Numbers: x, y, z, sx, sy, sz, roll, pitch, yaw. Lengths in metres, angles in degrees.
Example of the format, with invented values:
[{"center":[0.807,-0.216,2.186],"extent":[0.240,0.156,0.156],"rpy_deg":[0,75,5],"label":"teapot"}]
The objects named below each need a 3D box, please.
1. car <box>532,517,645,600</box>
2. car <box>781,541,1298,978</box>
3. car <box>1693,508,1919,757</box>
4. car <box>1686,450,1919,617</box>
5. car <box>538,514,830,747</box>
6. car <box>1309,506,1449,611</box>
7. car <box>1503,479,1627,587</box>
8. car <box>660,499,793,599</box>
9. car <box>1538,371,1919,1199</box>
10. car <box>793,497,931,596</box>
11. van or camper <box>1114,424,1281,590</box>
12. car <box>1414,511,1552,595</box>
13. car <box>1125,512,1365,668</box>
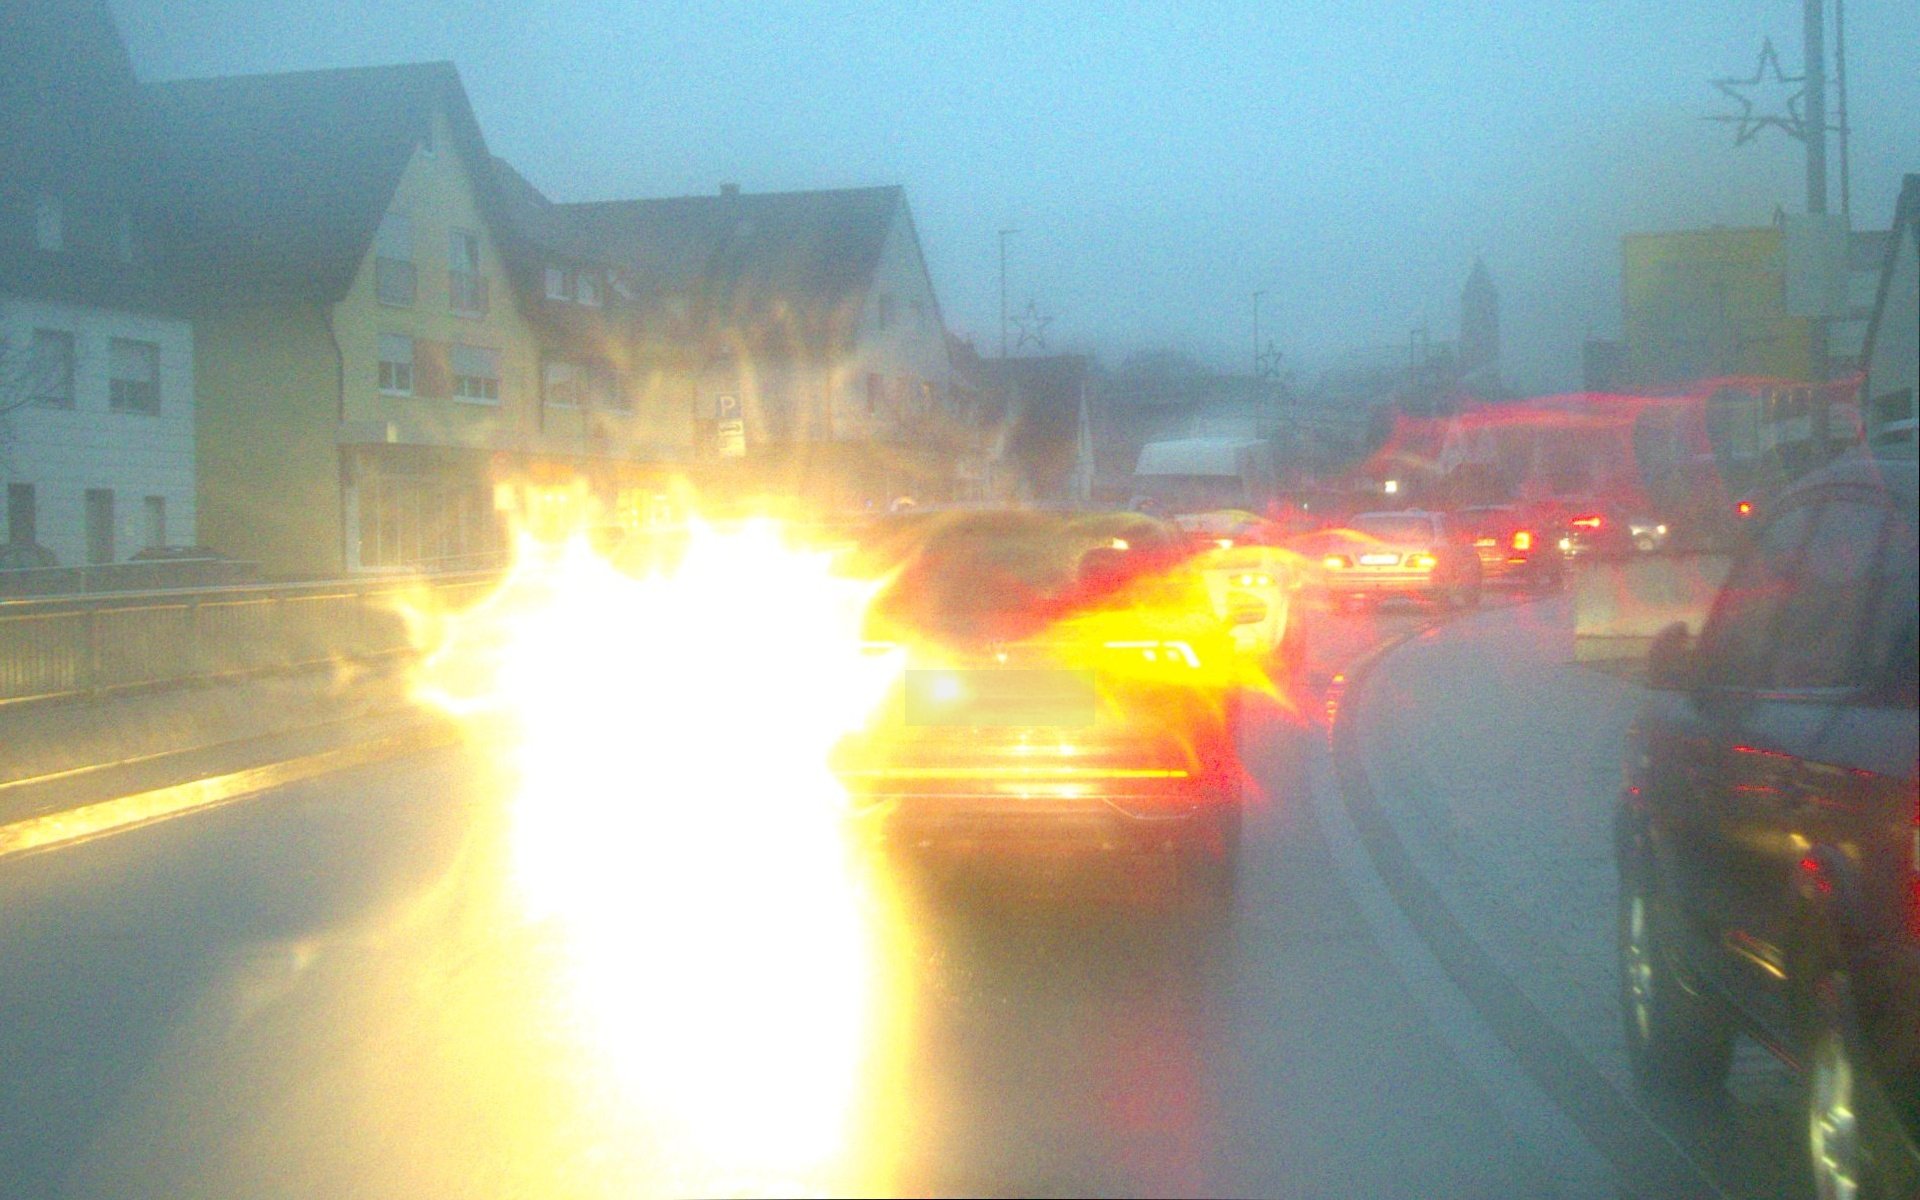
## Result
[{"center":[-7.665,-0.884,70.640],"extent":[1.821,1.607,4.058],"rpy_deg":[-2,2,-13],"label":"car"},{"center":[0.248,0.572,15.260],"extent":[1.964,1.589,4.314],"rpy_deg":[0,2,-1],"label":"car"},{"center":[6.117,0.129,21.726],"extent":[1.765,1.389,3.915],"rpy_deg":[-3,1,-5],"label":"car"},{"center":[11.060,-0.909,41.503],"extent":[4.176,1.633,1.803],"rpy_deg":[-8,1,7],"label":"car"},{"center":[-2.003,0.175,25.871],"extent":[1.663,1.630,3.550],"rpy_deg":[0,1,4],"label":"car"},{"center":[6.123,-0.632,49.928],"extent":[1.815,1.407,3.999],"rpy_deg":[0,2,10],"label":"car"},{"center":[12.390,-1.370,70.679],"extent":[2.158,1.984,4.498],"rpy_deg":[-4,1,7],"label":"car"},{"center":[-4.796,-1.060,70.104],"extent":[2.037,1.919,4.058],"rpy_deg":[-2,2,-13],"label":"car"},{"center":[2.445,0.412,7.759],"extent":[1.770,1.776,4.000],"rpy_deg":[-4,1,4],"label":"car"},{"center":[-2.043,-1.119,70.477],"extent":[2.037,1.919,4.058],"rpy_deg":[-2,2,-13],"label":"car"},{"center":[4.184,-1.606,59.378],"extent":[2.241,2.660,6.553],"rpy_deg":[-1,1,9],"label":"van or camper"},{"center":[9.263,-0.851,60.656],"extent":[1.995,1.387,3.998],"rpy_deg":[-1,2,14],"label":"car"},{"center":[2.885,-0.113,34.102],"extent":[1.683,1.448,3.997],"rpy_deg":[0,0,15],"label":"car"}]
